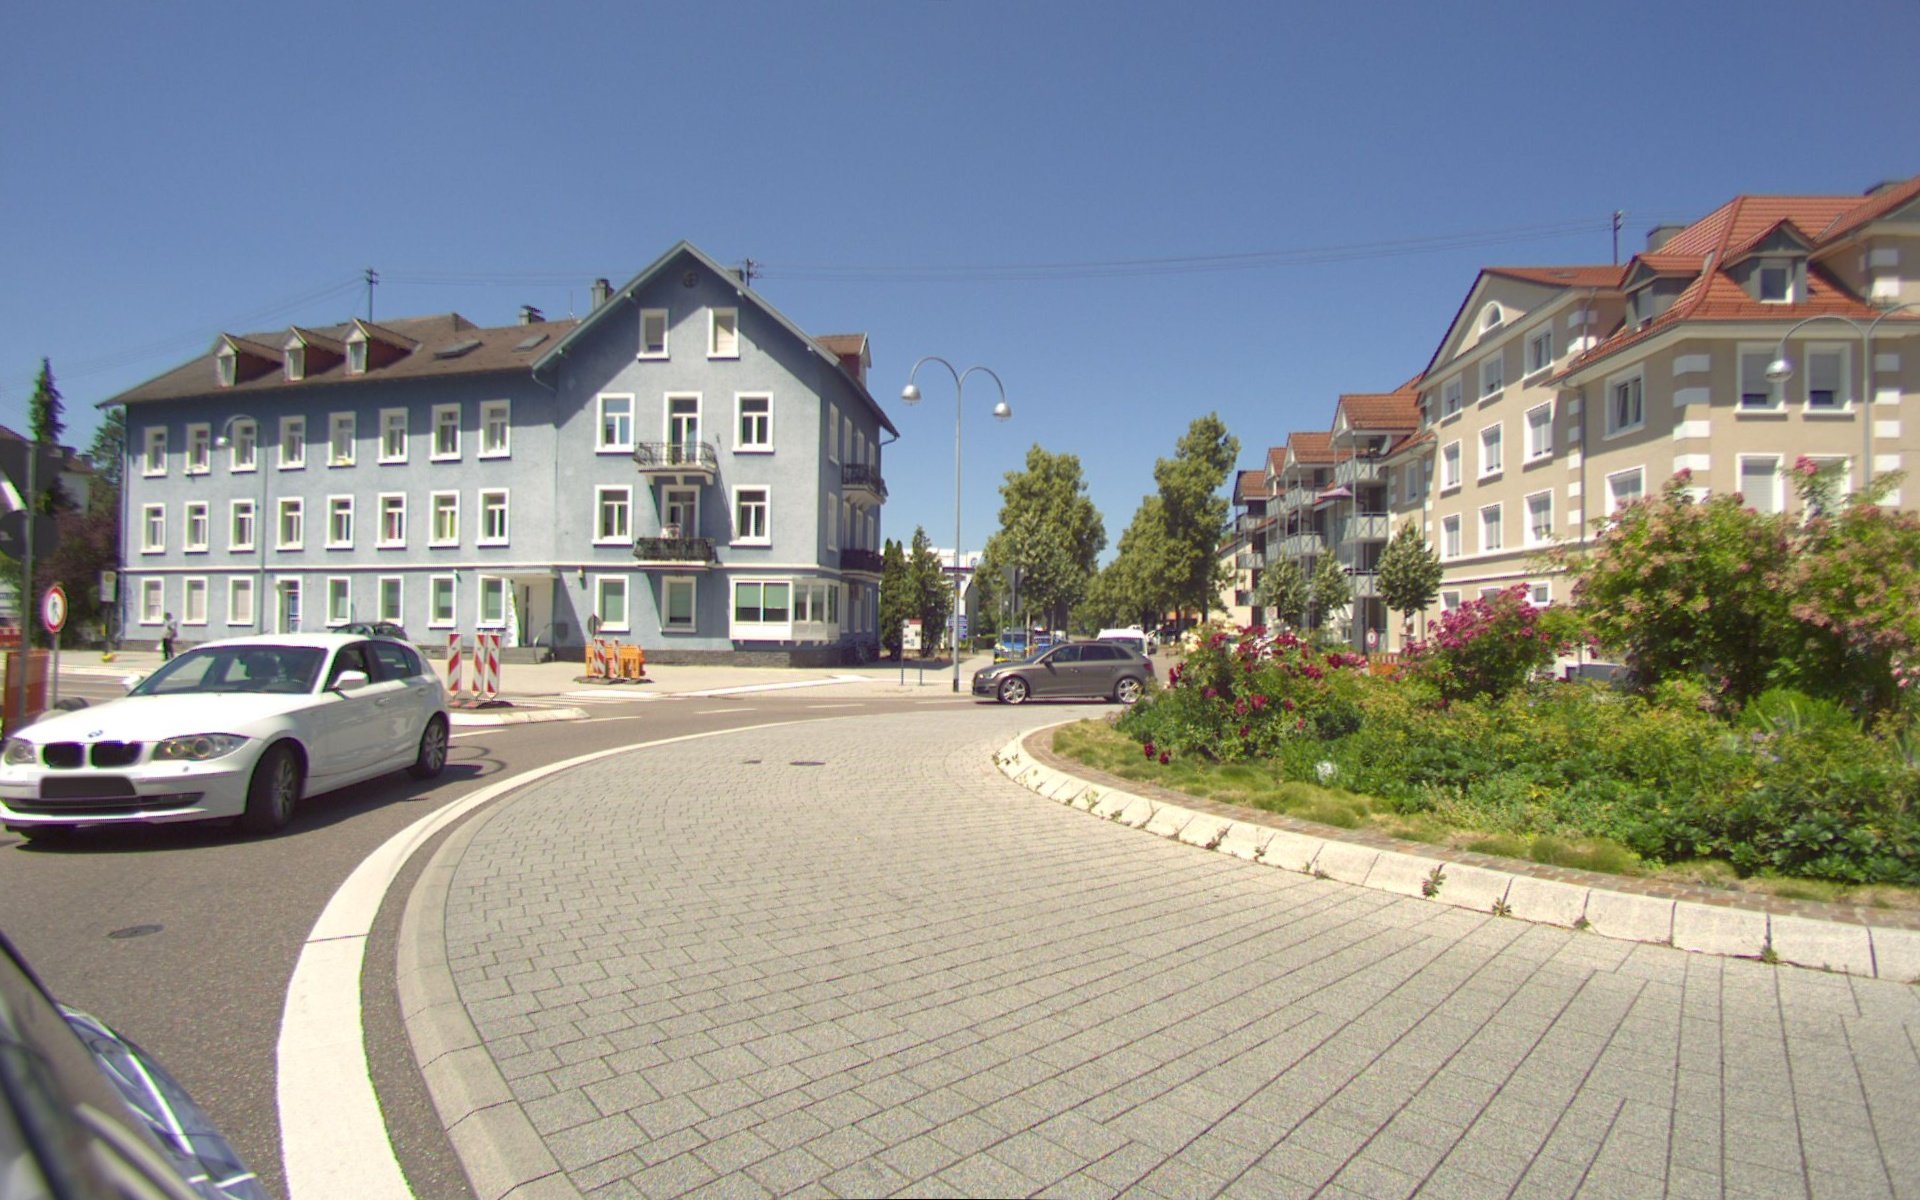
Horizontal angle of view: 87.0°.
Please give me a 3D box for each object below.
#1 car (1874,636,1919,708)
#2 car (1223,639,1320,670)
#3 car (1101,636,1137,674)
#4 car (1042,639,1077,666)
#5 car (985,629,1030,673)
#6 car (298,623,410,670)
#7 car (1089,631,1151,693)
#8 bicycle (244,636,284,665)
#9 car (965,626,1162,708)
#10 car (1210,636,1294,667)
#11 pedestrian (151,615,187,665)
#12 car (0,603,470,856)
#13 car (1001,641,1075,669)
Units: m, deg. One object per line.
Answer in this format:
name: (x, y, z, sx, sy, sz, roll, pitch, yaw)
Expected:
car: (25.016, 1.747, 24.129, 4.633, 1.698, 1.779, 1, -2, 4)
car: (15.759, 2.765, 51.397, 4.355, 1.504, 1.978, 0, -3, 6)
car: (9.377, 3.193, 59.998, 1.976, 2.029, 3.991, 0, 0, 7)
car: (6.791, 3.577, 68.799, 2.256, 1.705, 4.118, 1, -3, 6)
car: (2.118, 2.166, 43.992, 1.759, 1.791, 4.236, 0, -2, 6)
car: (-22.413, 1.689, 37.418, 3.749, 1.546, 1.571, 2, -1, 22)
car: (4.994, 1.864, 31.692, 1.761, 1.791, 4.231, 0, -2, 9)
bicycle: (-26.519, 1.928, 38.537, 1.966, 0.984, 0.492, 1, 3, 32)
car: (2.300, 1.507, 23.180, 4.178, 1.791, 1.783, 0, -2, -5)
car: (16.774, 2.974, 58.291, 4.319, 1.683, 1.978, 0, -3, 6)
pedestrian: (-30.376, 1.532, 38.859, 0.766, 1.862, 0.753, 0, 1, 20)
car: (-5.810, 0.927, 8.431, 1.760, 1.563, 4.133, -1, -3, -5)
car: (4.275, 2.995, 55.347, 3.983, 1.369, 1.658, 1, 1, 7)
